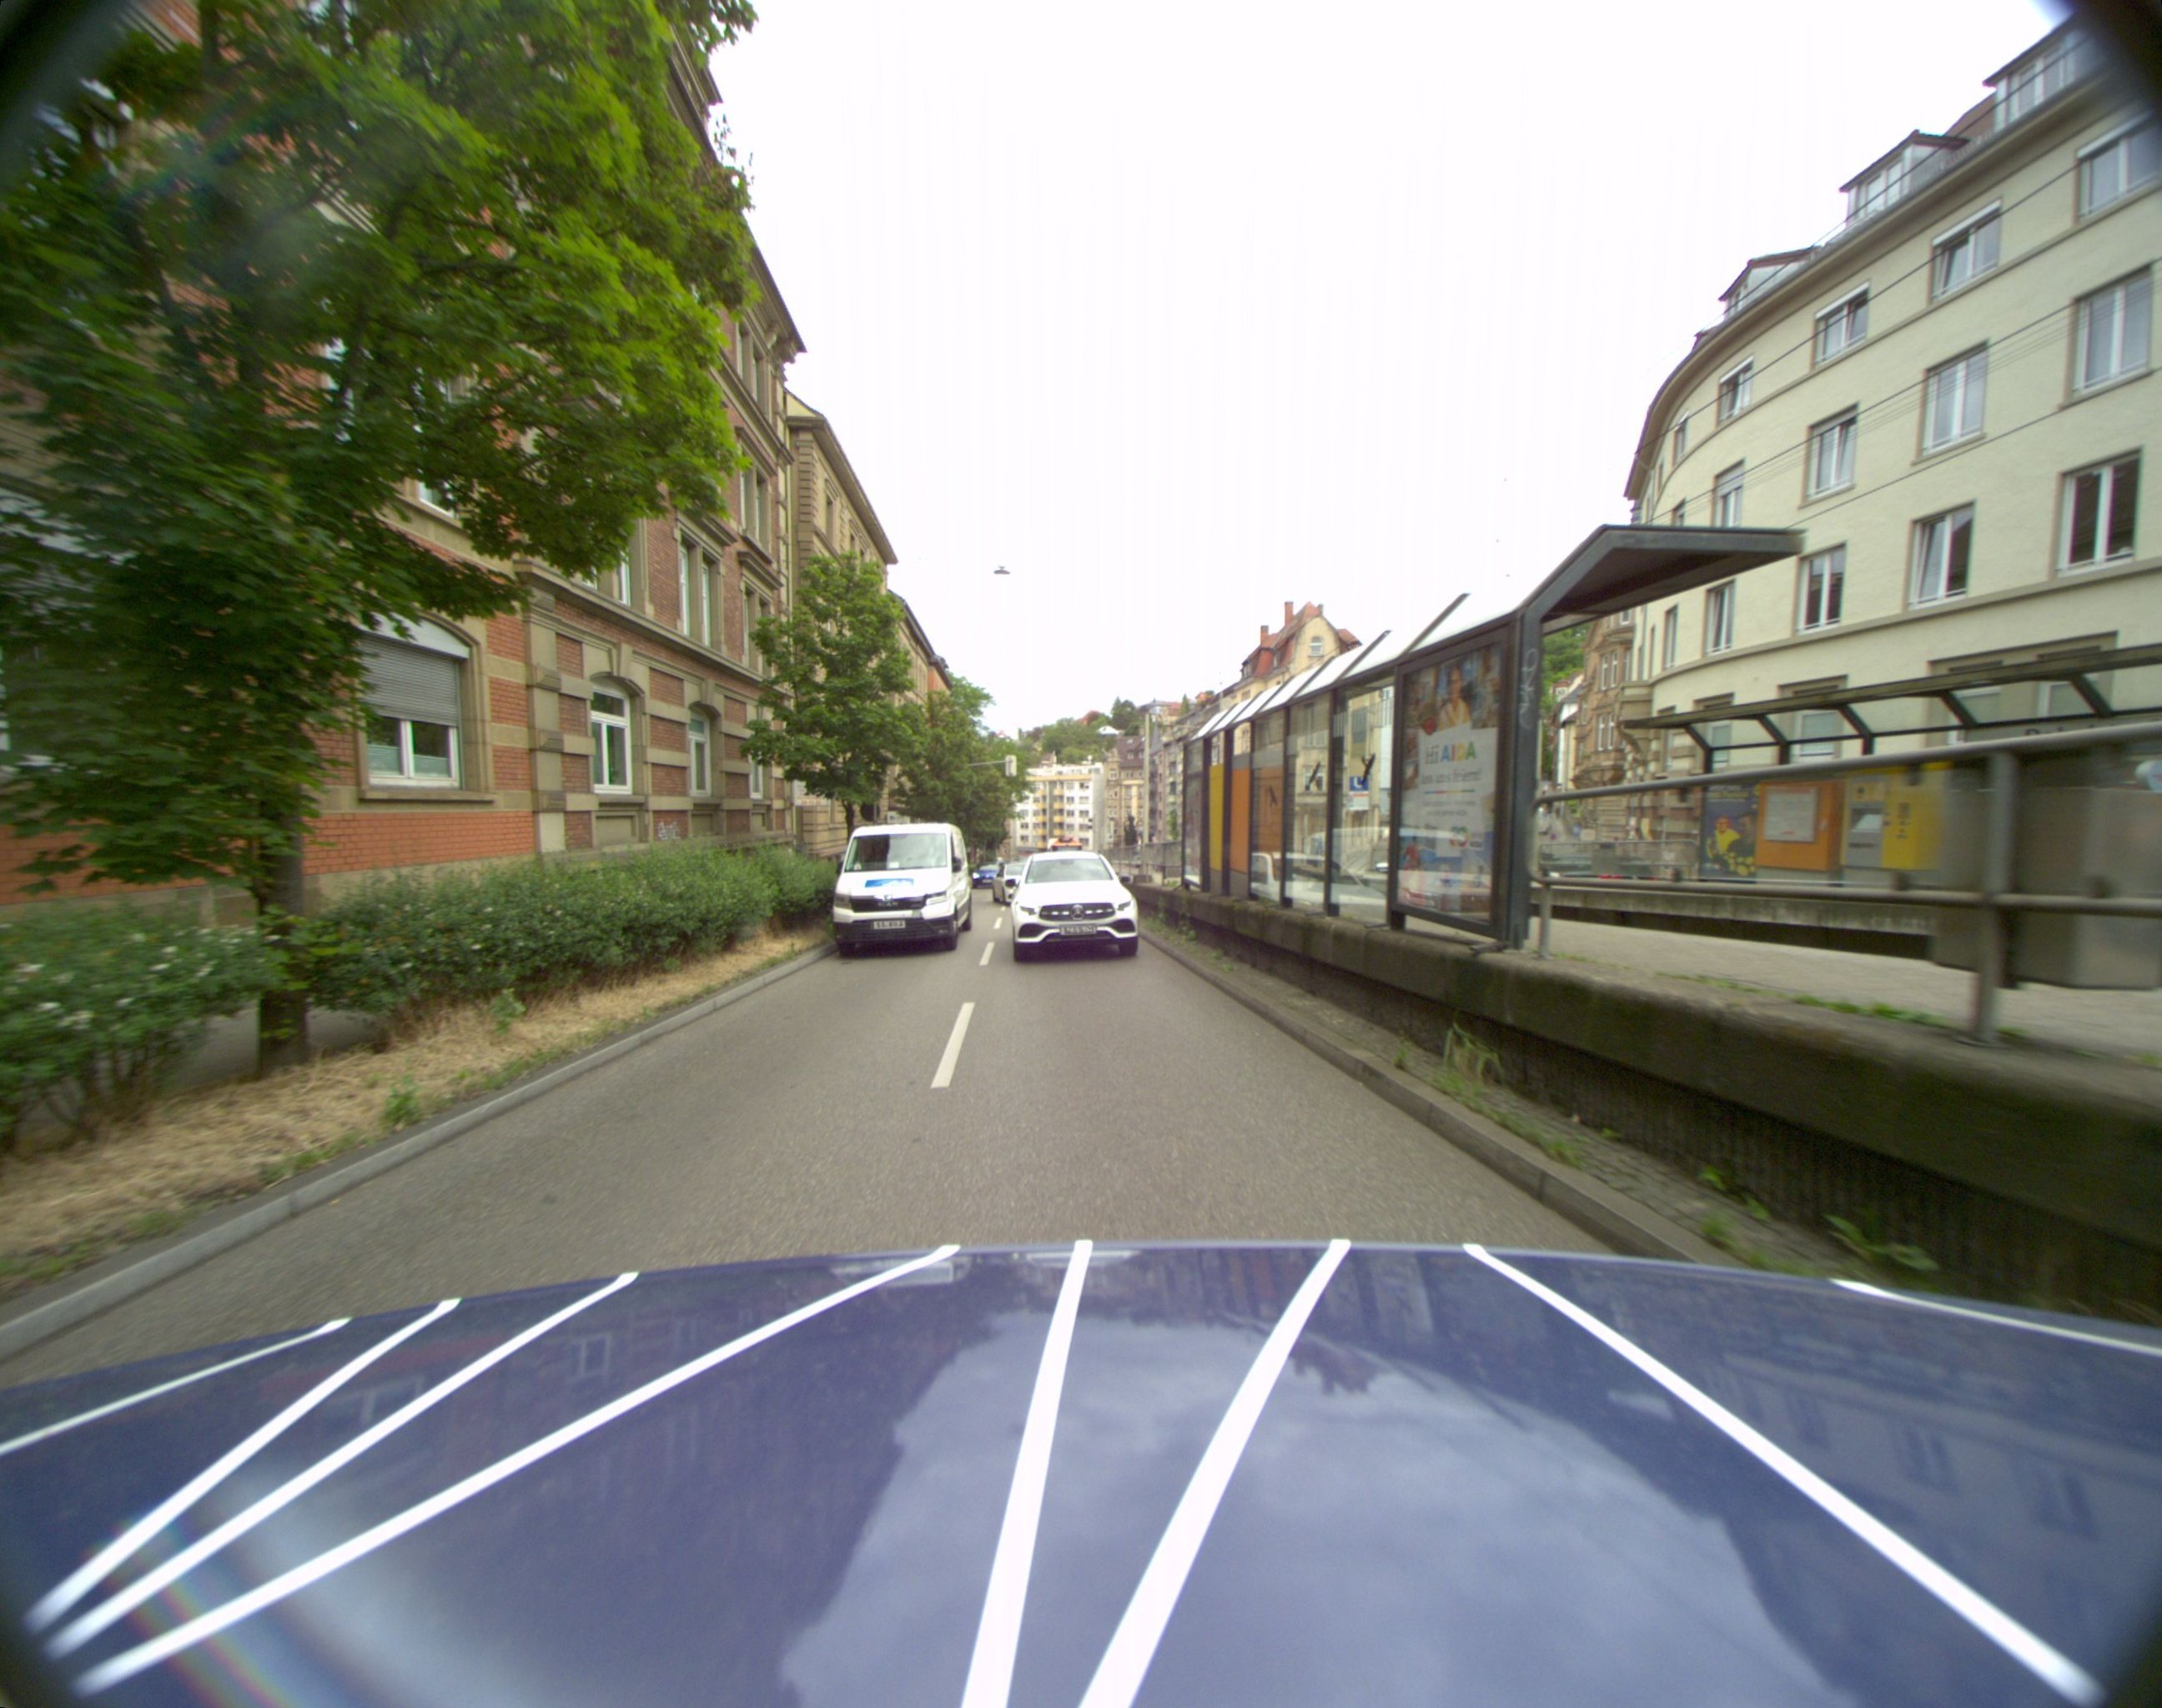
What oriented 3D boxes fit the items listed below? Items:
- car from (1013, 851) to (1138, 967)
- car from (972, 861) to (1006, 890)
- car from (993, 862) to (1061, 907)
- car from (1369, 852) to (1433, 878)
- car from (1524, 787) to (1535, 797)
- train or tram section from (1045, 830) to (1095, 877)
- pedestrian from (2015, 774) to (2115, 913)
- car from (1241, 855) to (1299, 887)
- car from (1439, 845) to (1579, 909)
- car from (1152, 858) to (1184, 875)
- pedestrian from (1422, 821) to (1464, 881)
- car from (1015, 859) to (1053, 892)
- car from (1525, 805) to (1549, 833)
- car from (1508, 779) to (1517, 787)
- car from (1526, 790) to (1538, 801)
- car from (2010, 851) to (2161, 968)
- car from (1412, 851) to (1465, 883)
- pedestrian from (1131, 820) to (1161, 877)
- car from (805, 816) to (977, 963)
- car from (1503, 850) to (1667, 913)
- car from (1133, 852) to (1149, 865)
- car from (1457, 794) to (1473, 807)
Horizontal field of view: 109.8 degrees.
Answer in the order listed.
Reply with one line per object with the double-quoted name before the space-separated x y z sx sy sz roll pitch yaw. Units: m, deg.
"car" -0.249 0.820 13.815 1.841 1.657 4.668 -2 1 -4
"car" -5.142 1.186 42.934 1.695 1.466 3.855 -1 0 -4
"car" -1.961 0.995 26.493 1.808 1.391 3.996 -1 0 -12
"car" 22.010 0.714 52.249 4.006 1.700 1.996 0 0 -27
"car" 76.043 -10.523 128.850 1.643 1.453 3.312 0 7 30
"train or tram section" -1.154 -0.003 63.878 2.969 3.456 14.401 0 0 -6
"pedestrian" 11.366 -0.119 8.785 0.463 1.553 0.540 -1 1 -5
"car" 10.689 0.940 43.296 1.851 1.723 4.378 -1 0 -5
"car" 12.787 0.628 23.005 1.828 1.754 3.862 -1 0 -5
"car" 7.670 1.039 67.230 1.851 1.437 4.378 -1 0 -6
"pedestrian" 10.366 -0.087 21.800 0.767 1.678 0.843 -1 0 -4
"car" -2.406 1.057 38.485 1.807 1.542 3.998 -1 0 -5
"car" 46.189 -3.545 77.017 1.995 2.465 4.003 0 7 30
"car" 89.300 -14.654 157.112 1.643 1.453 3.312 0 7 30
"car" 71.032 -9.251 119.619 1.643 1.436 3.312 0 7 30
"car" 16.198 0.788 10.201 1.868 1.636 4.412 -1 0 -6
"car" 20.783 0.717 44.075 1.846 1.723 4.390 0 0 38
"pedestrian" 1.976 -0.160 23.136 0.767 1.705 0.766 -1 0 -4
"car" -3.414 0.571 15.035 2.264 2.274 5.965 -2 0 -5
"car" 15.207 0.764 23.266 1.851 1.723 4.378 -1 0 -5
"car" 9.303 0.674 117.239 1.851 1.963 4.049 -1 0 -4
"car" 59.601 -8.344 117.938 1.938 1.630 4.003 0 7 30
